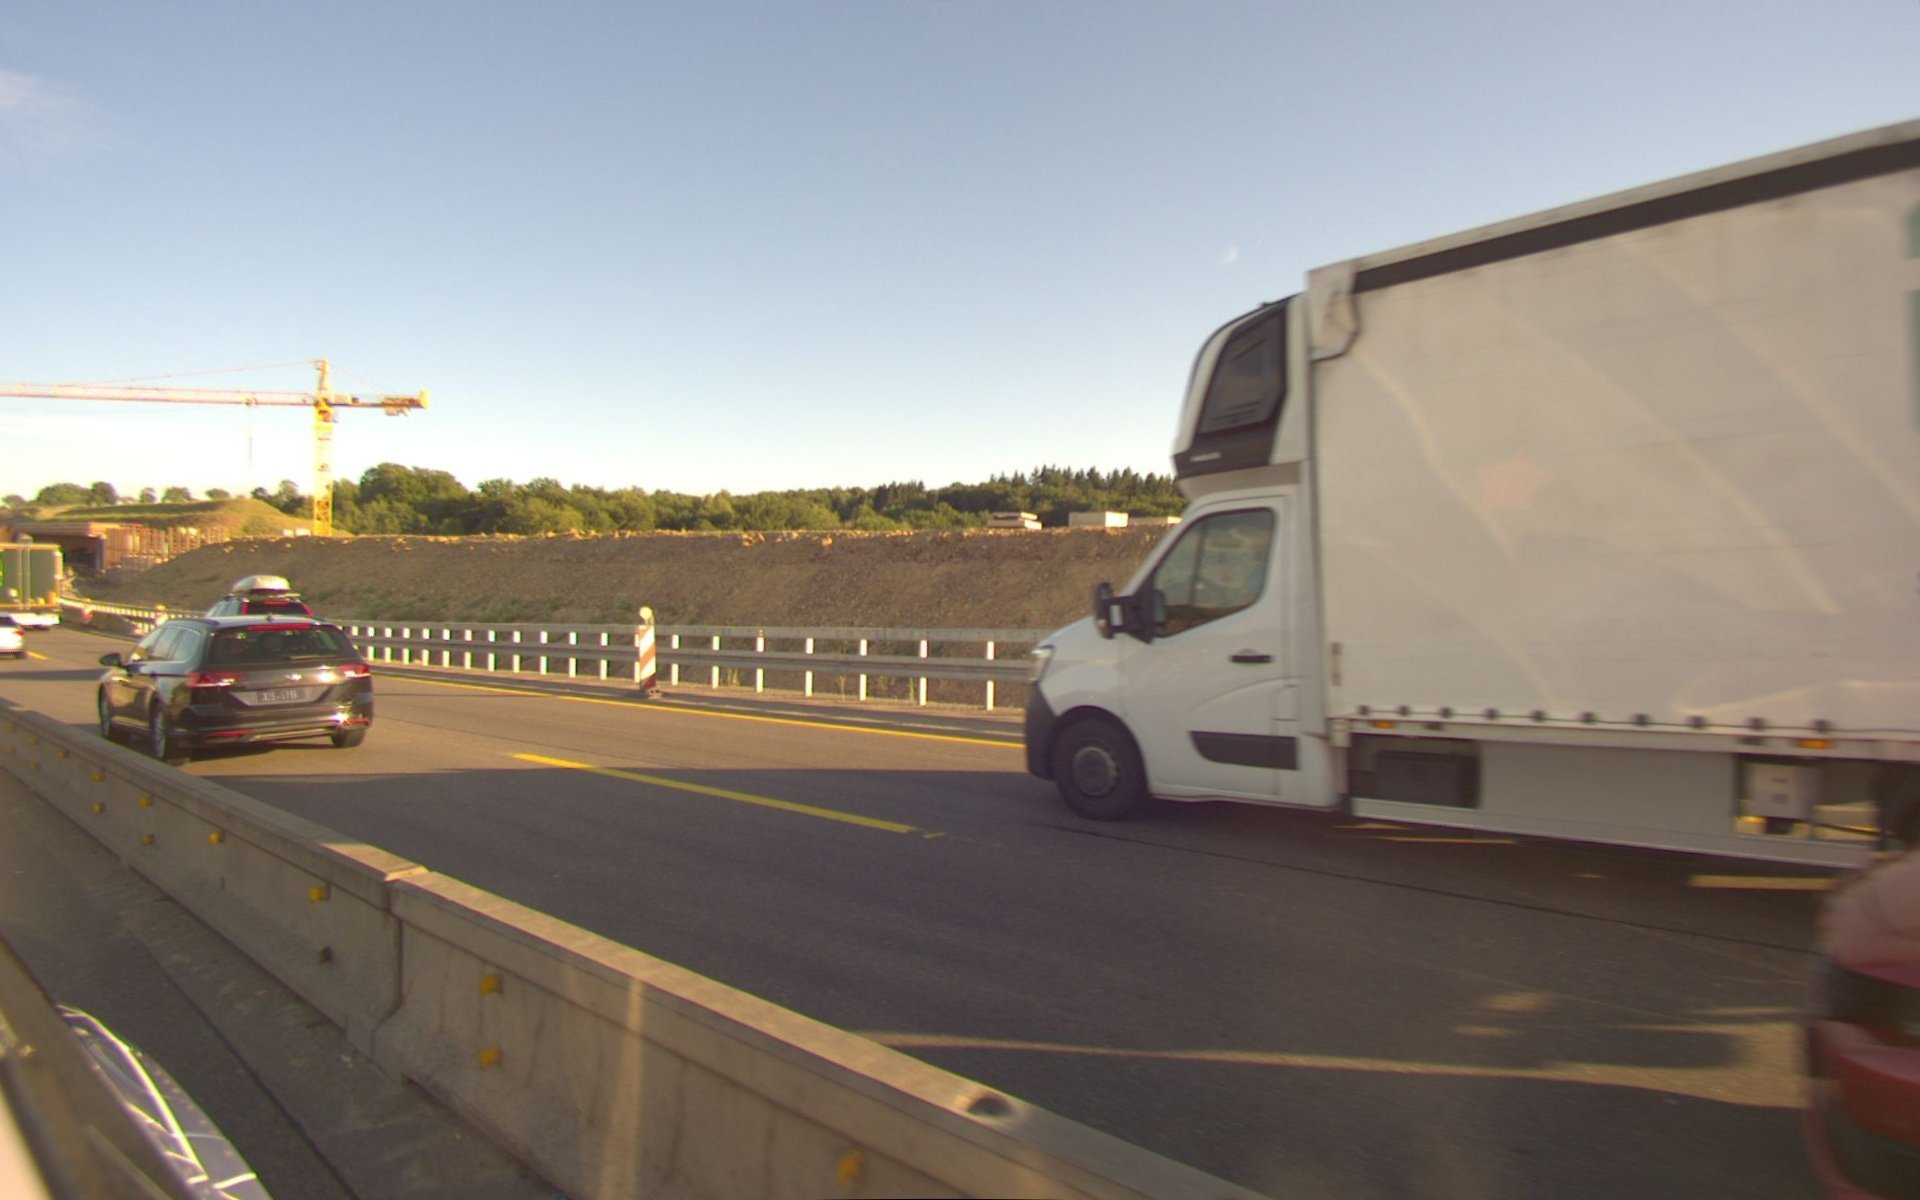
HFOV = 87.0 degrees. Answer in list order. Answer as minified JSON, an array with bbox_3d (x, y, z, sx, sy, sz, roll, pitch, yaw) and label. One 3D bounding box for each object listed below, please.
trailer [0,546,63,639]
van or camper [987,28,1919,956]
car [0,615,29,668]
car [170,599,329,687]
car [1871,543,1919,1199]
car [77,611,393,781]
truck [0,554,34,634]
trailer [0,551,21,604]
[{"bbox_3d":[-46.537,-0.332,49.377,13.680,4.062,2.744,0,0,42],"label":"trailer"},{"bbox_3d":[3.787,-0.406,5.336,7.409,3.525,2.432,-1,0,41],"label":"van or camper"},{"bbox_3d":[-29.254,1.220,30.093,4.153,1.442,1.842,0,1,41],"label":"car"},{"bbox_3d":[-16.271,0.893,23.090,4.439,1.778,1.973,0,1,41],"label":"car"},{"bbox_3d":[3.889,0.600,0.743,4.703,1.474,1.797,-1,0,41],"label":"car"},{"bbox_3d":[-8.170,0.893,11.214,4.703,1.474,1.797,-1,0,41],"label":"car"},{"bbox_3d":[-51.700,-0.311,54.104,5.774,4.112,2.740,0,0,42],"label":"truck"},{"bbox_3d":[-81.532,-2.010,85.664,2.500,4.244,13.955,-2,3,-41],"label":"trailer"}]
